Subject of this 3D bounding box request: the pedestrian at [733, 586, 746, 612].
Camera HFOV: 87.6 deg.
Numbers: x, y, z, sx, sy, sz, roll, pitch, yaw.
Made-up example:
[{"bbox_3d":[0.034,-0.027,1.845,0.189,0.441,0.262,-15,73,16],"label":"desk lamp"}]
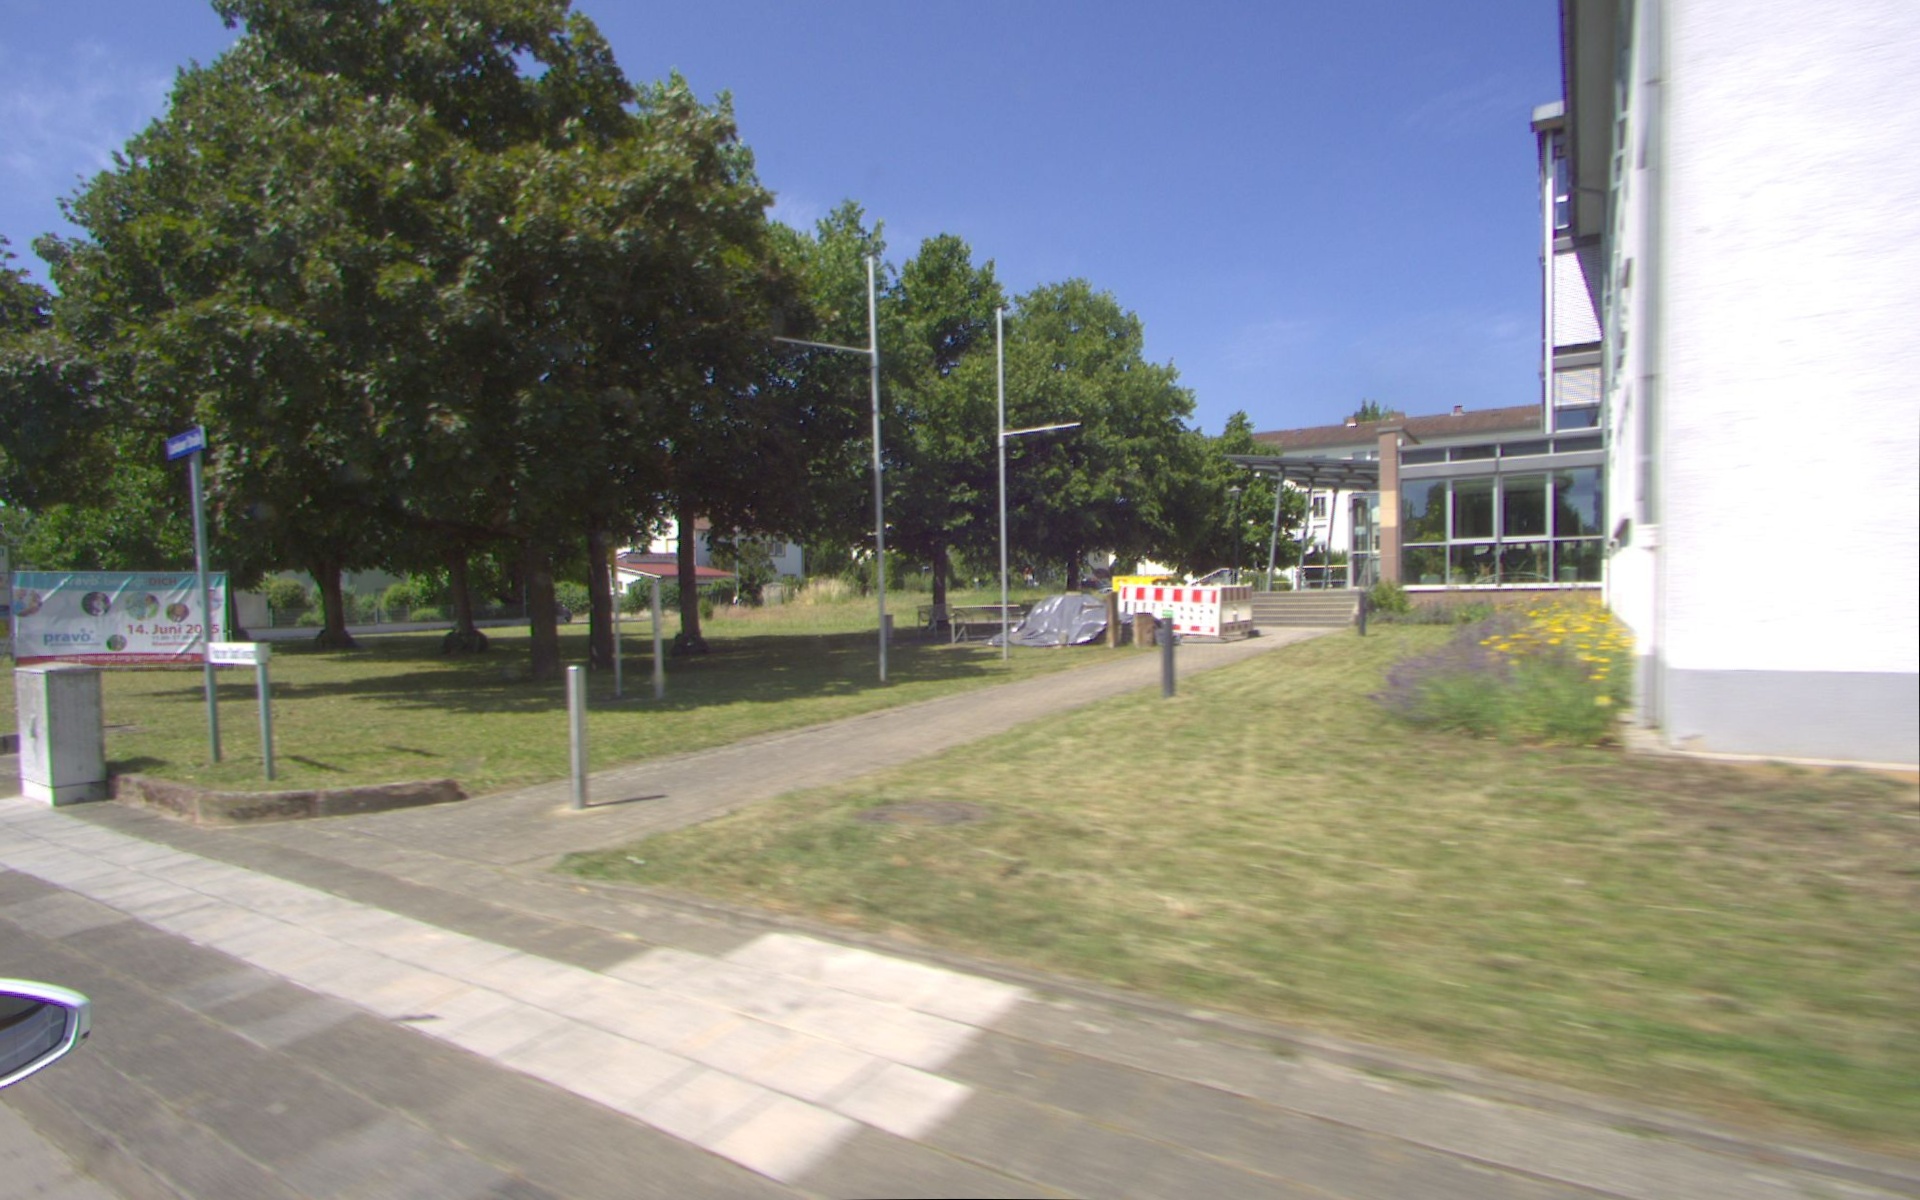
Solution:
[{"bbox_3d":[-16.459,-0.089,74.799,0.772,1.876,0.629,-1,-1,27],"label":"pedestrian"}]
